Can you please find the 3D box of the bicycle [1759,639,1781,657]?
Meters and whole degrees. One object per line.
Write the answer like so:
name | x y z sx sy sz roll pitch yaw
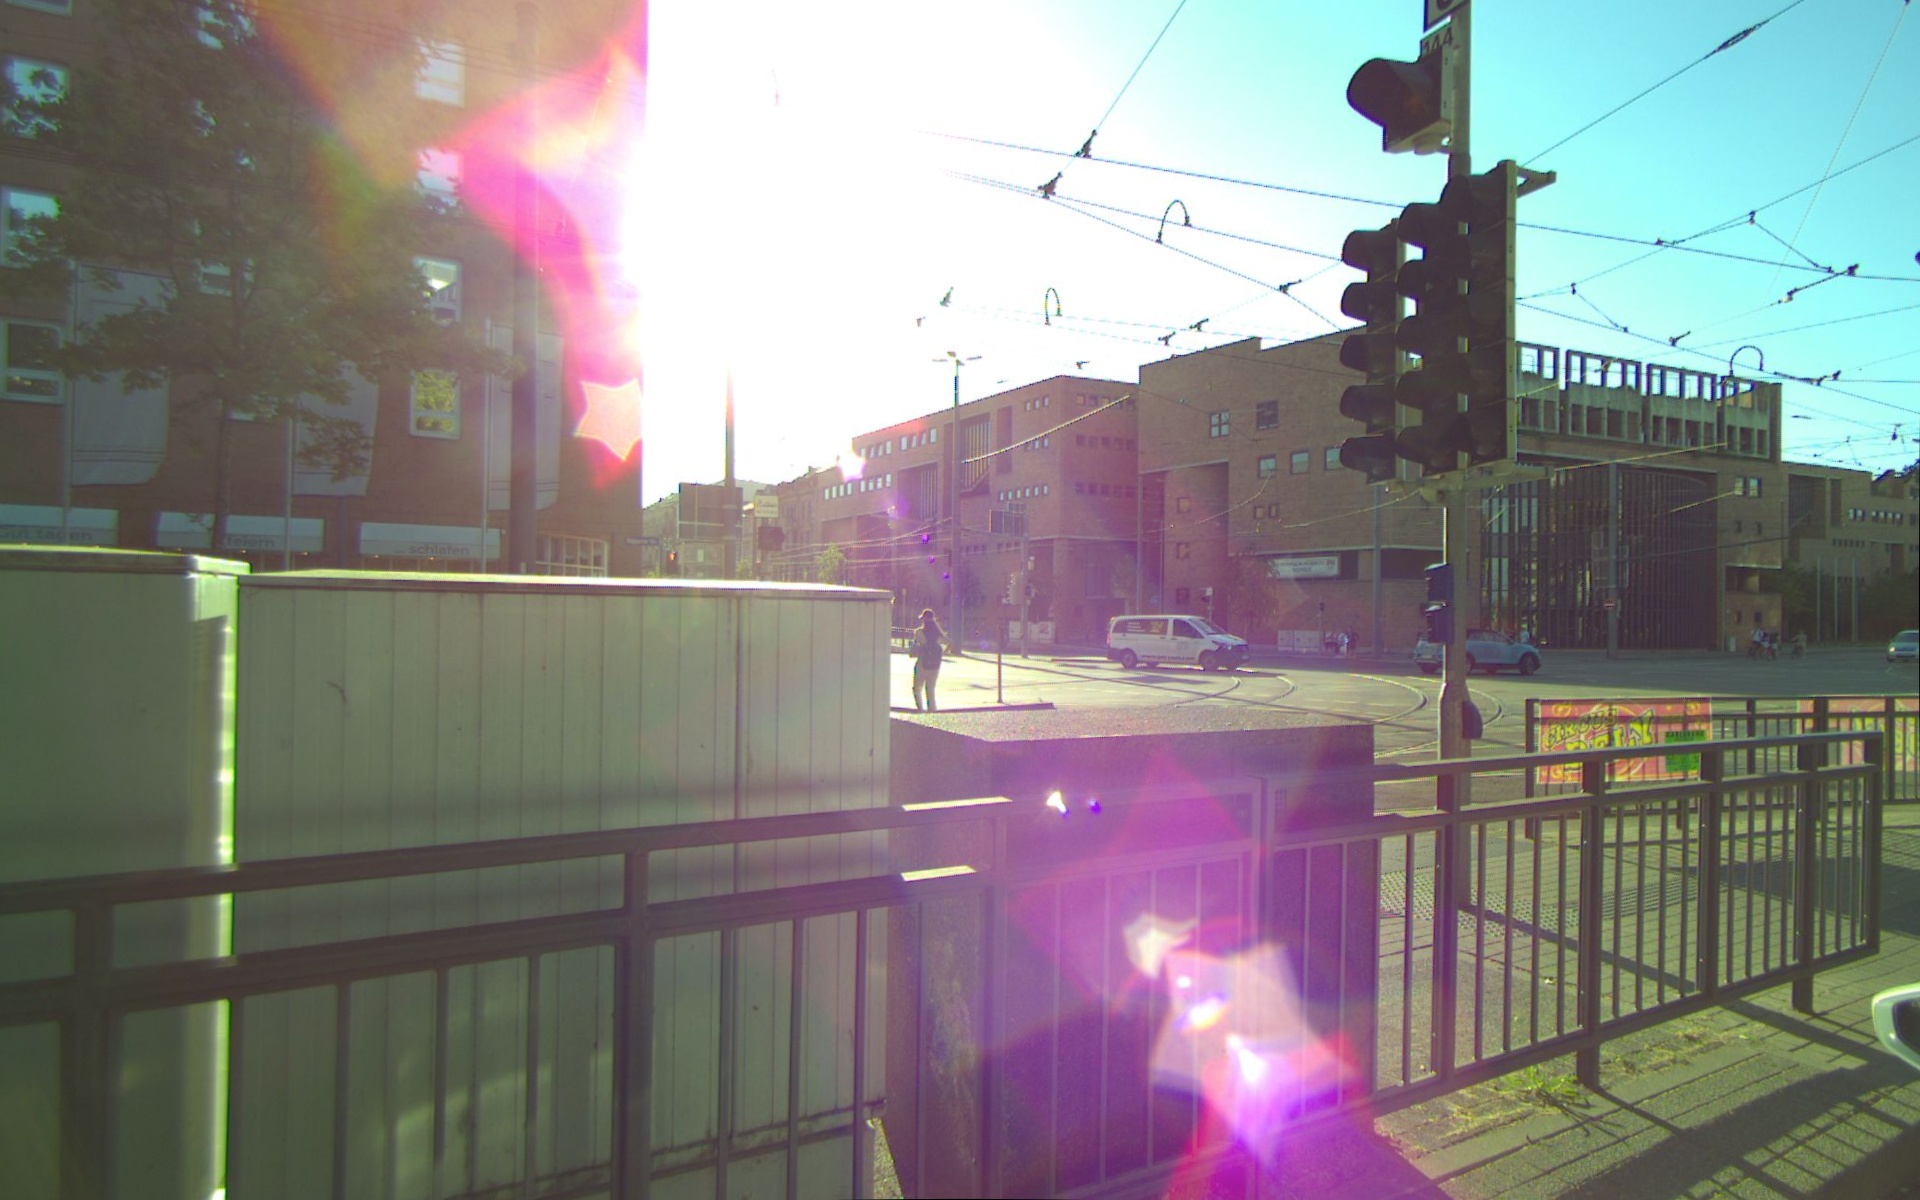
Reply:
bicycle | 45.008 2.685 55.809 1.557 0.976 0.470 1 -1 -30

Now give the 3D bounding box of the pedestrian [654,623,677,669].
pedestrian | -10.712 1.667 36.530 0.658 1.669 0.638 1 -1 -34

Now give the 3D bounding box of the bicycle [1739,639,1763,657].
bicycle | 44.422 2.691 56.391 1.568 0.976 0.539 1 -1 -30

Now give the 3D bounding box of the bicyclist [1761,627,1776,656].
bicyclist | 44.972 2.302 55.875 0.574 1.624 0.456 1 -1 -30

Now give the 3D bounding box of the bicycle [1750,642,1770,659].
bicycle | 46.626 2.956 58.530 1.304 0.976 0.465 1 -1 -30

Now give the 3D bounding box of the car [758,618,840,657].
car | -8.340 1.902 51.708 1.982 1.928 5.156 1 -2 -38

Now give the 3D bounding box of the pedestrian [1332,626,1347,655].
pedestrian | 21.772 2.323 57.601 0.543 1.670 0.596 1 -1 -30

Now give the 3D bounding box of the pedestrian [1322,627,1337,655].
pedestrian | 21.508 2.370 58.502 0.582 1.635 0.593 1 -1 -31

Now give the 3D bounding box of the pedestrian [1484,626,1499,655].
pedestrian | 31.305 2.376 59.123 0.543 1.706 0.569 1 -1 -30

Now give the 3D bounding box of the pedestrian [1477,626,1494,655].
pedestrian | 30.455 2.338 58.207 0.610 1.706 0.650 0 -1 -5

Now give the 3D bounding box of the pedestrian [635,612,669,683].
pedestrian | -8.183 1.246 26.678 0.713 1.837 0.904 1 -1 -28

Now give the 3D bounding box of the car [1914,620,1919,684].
car | 30.527 1.526 28.799 4.434 1.891 1.762 0 -1 5

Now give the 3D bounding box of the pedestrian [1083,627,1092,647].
pedestrian | 9.832 2.836 77.272 0.463 1.482 0.505 1 -1 -37

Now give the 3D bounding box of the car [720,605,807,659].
car | -9.460 1.511 47.968 1.982 2.419 5.156 1 -2 -38

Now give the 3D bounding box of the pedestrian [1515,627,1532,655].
pedestrian | 32.563 2.364 58.010 0.609 1.647 0.609 1 -1 -24

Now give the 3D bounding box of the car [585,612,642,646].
car | -22.774 1.891 65.934 1.982 2.122 5.156 1 -2 -38

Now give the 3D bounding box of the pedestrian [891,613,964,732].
pedestrian | -0.480 1.041 14.762 0.709 1.669 0.953 1 -1 -30

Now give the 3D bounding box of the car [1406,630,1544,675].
car | 17.206 1.740 33.627 4.032 1.445 1.629 1 -1 -13

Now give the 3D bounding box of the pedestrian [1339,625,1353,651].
pedestrian | 22.557 2.223 58.691 0.611 1.473 0.562 2 -2 -45

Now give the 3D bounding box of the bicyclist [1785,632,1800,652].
bicyclist | 49.402 2.476 59.611 0.574 1.194 0.503 1 -1 -30

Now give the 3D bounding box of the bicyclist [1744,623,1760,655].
bicyclist | 44.440 2.197 56.363 0.574 1.754 0.534 1 -1 -30

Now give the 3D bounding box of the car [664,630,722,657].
car | -14.344 2.320 53.874 1.729 1.372 3.960 1 -2 -36

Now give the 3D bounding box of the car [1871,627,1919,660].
car | 48.985 2.220 51.787 3.954 1.661 1.983 1 -2 -31

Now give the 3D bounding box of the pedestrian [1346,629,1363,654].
pedestrian | 22.258 2.333 56.708 0.670 1.357 0.603 1 -1 -14

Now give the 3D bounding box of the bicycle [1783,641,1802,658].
bicycle | 49.421 2.940 59.616 1.332 0.976 0.449 1 -1 -30

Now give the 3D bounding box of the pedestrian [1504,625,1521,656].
pedestrian | 31.214 2.292 56.753 0.542 1.706 0.590 1 -1 -18

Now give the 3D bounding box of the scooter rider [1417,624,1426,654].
scooter rider | 25.422 2.156 55.368 0.429 1.669 0.229 0 -1 15

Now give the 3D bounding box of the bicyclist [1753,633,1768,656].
bicyclist | 46.655 2.615 58.529 0.574 1.321 0.503 1 -1 -30

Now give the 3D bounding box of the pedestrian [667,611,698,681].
pedestrian | -7.480 1.228 27.060 0.647 1.864 0.835 1 -1 -28

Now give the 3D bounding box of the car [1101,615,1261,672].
car | 7.712 1.485 35.421 5.255 1.873 1.956 -1 -2 43
